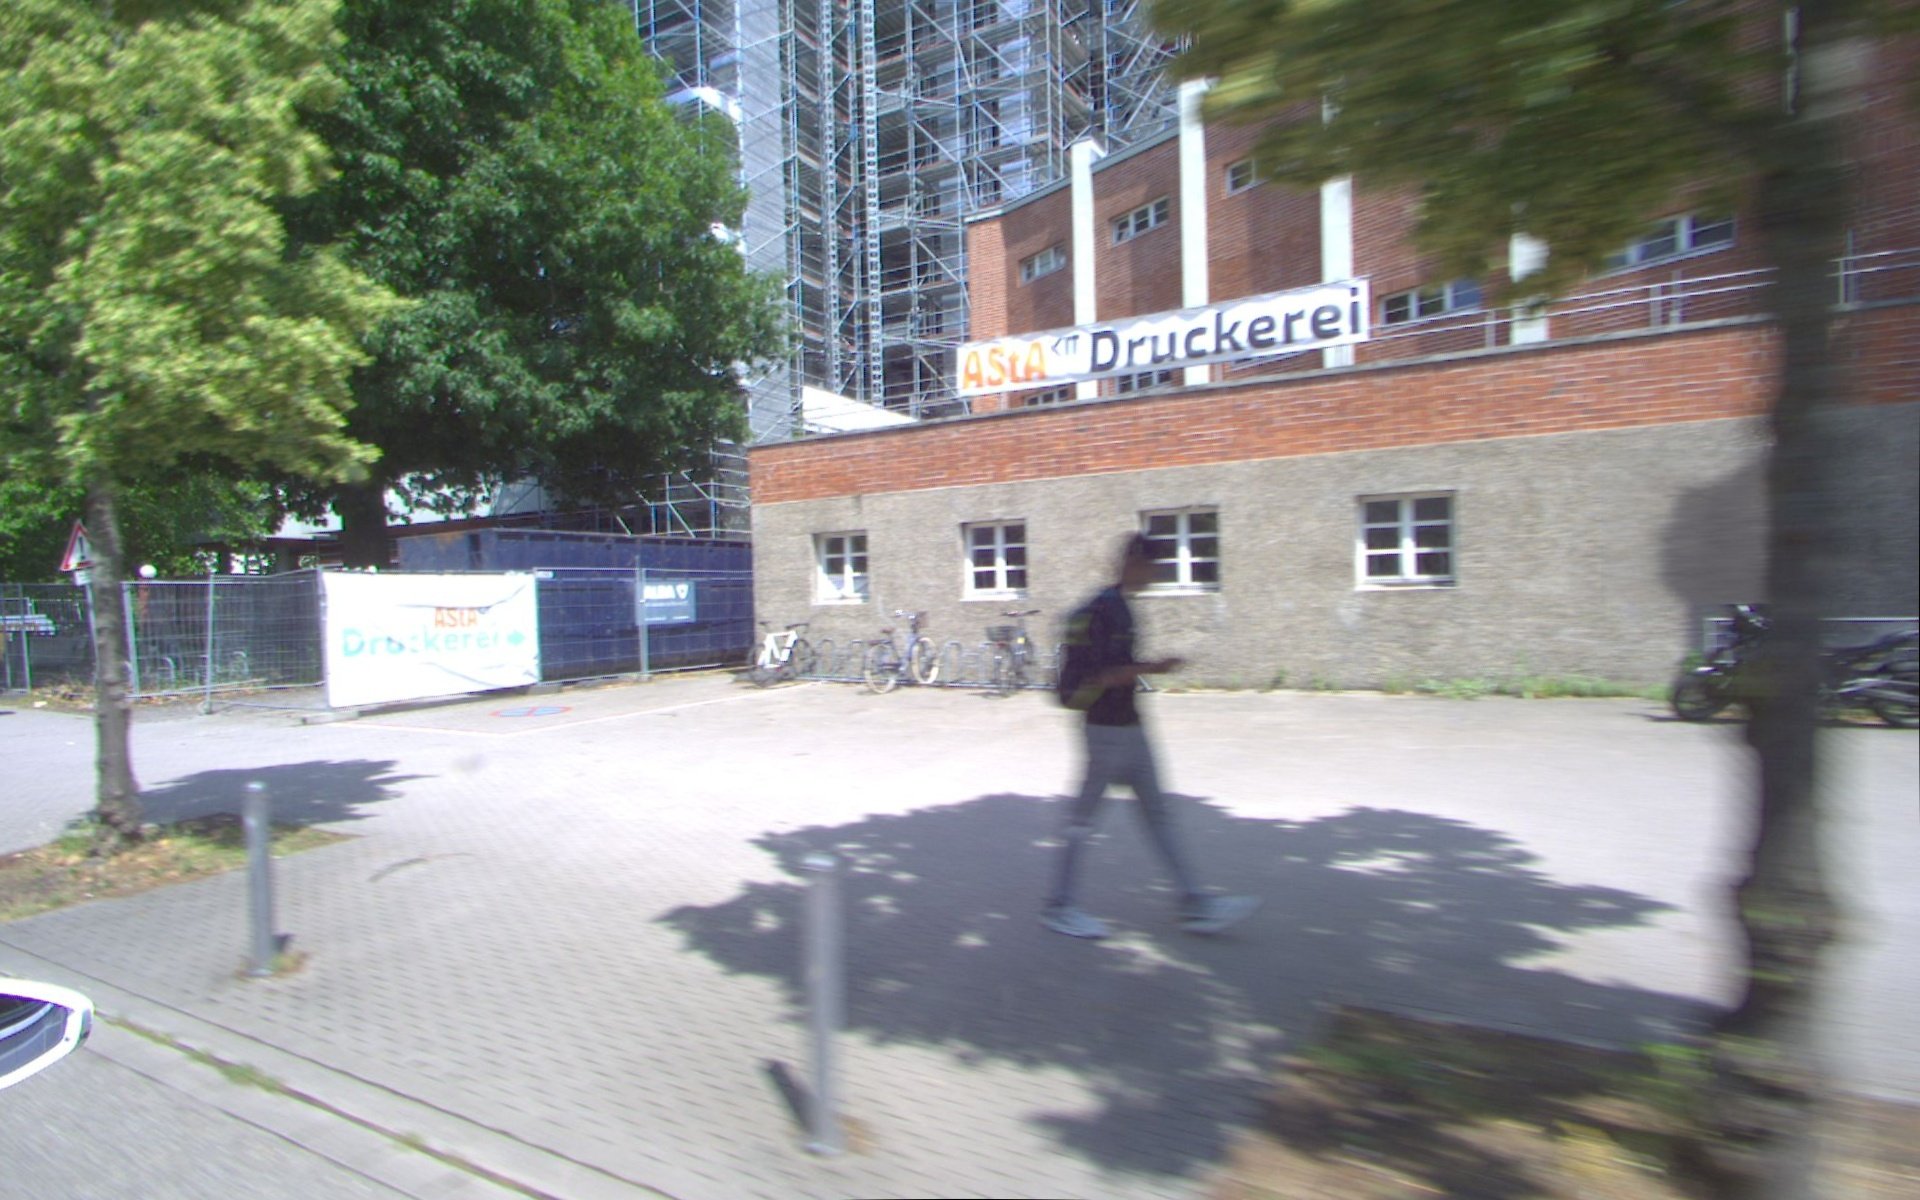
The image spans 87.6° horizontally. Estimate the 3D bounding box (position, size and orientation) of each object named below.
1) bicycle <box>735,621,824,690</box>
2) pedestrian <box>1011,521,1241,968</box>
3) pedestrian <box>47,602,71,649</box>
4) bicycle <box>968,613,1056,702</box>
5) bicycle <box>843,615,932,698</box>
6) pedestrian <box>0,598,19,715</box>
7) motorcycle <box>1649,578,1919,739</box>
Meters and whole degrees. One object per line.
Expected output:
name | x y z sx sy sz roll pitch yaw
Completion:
bicycle | -2.913 0.874 16.280 0.441 1.016 1.669 -1 1 29
pedestrian | 0.725 0.561 4.317 0.781 1.719 0.640 -1 1 31
pedestrian | -36.571 1.031 40.651 0.752 1.861 0.541 -1 1 37
bicycle | 0.752 0.761 13.930 0.441 1.124 1.803 -1 1 29
bicycle | -1.045 0.805 14.870 0.441 1.124 1.699 -1 1 29
pedestrian | -14.411 0.832 14.645 0.890 1.688 0.648 -1 1 28
motorcycle | 7.527 0.494 8.973 2.188 1.341 0.694 -1 1 32
